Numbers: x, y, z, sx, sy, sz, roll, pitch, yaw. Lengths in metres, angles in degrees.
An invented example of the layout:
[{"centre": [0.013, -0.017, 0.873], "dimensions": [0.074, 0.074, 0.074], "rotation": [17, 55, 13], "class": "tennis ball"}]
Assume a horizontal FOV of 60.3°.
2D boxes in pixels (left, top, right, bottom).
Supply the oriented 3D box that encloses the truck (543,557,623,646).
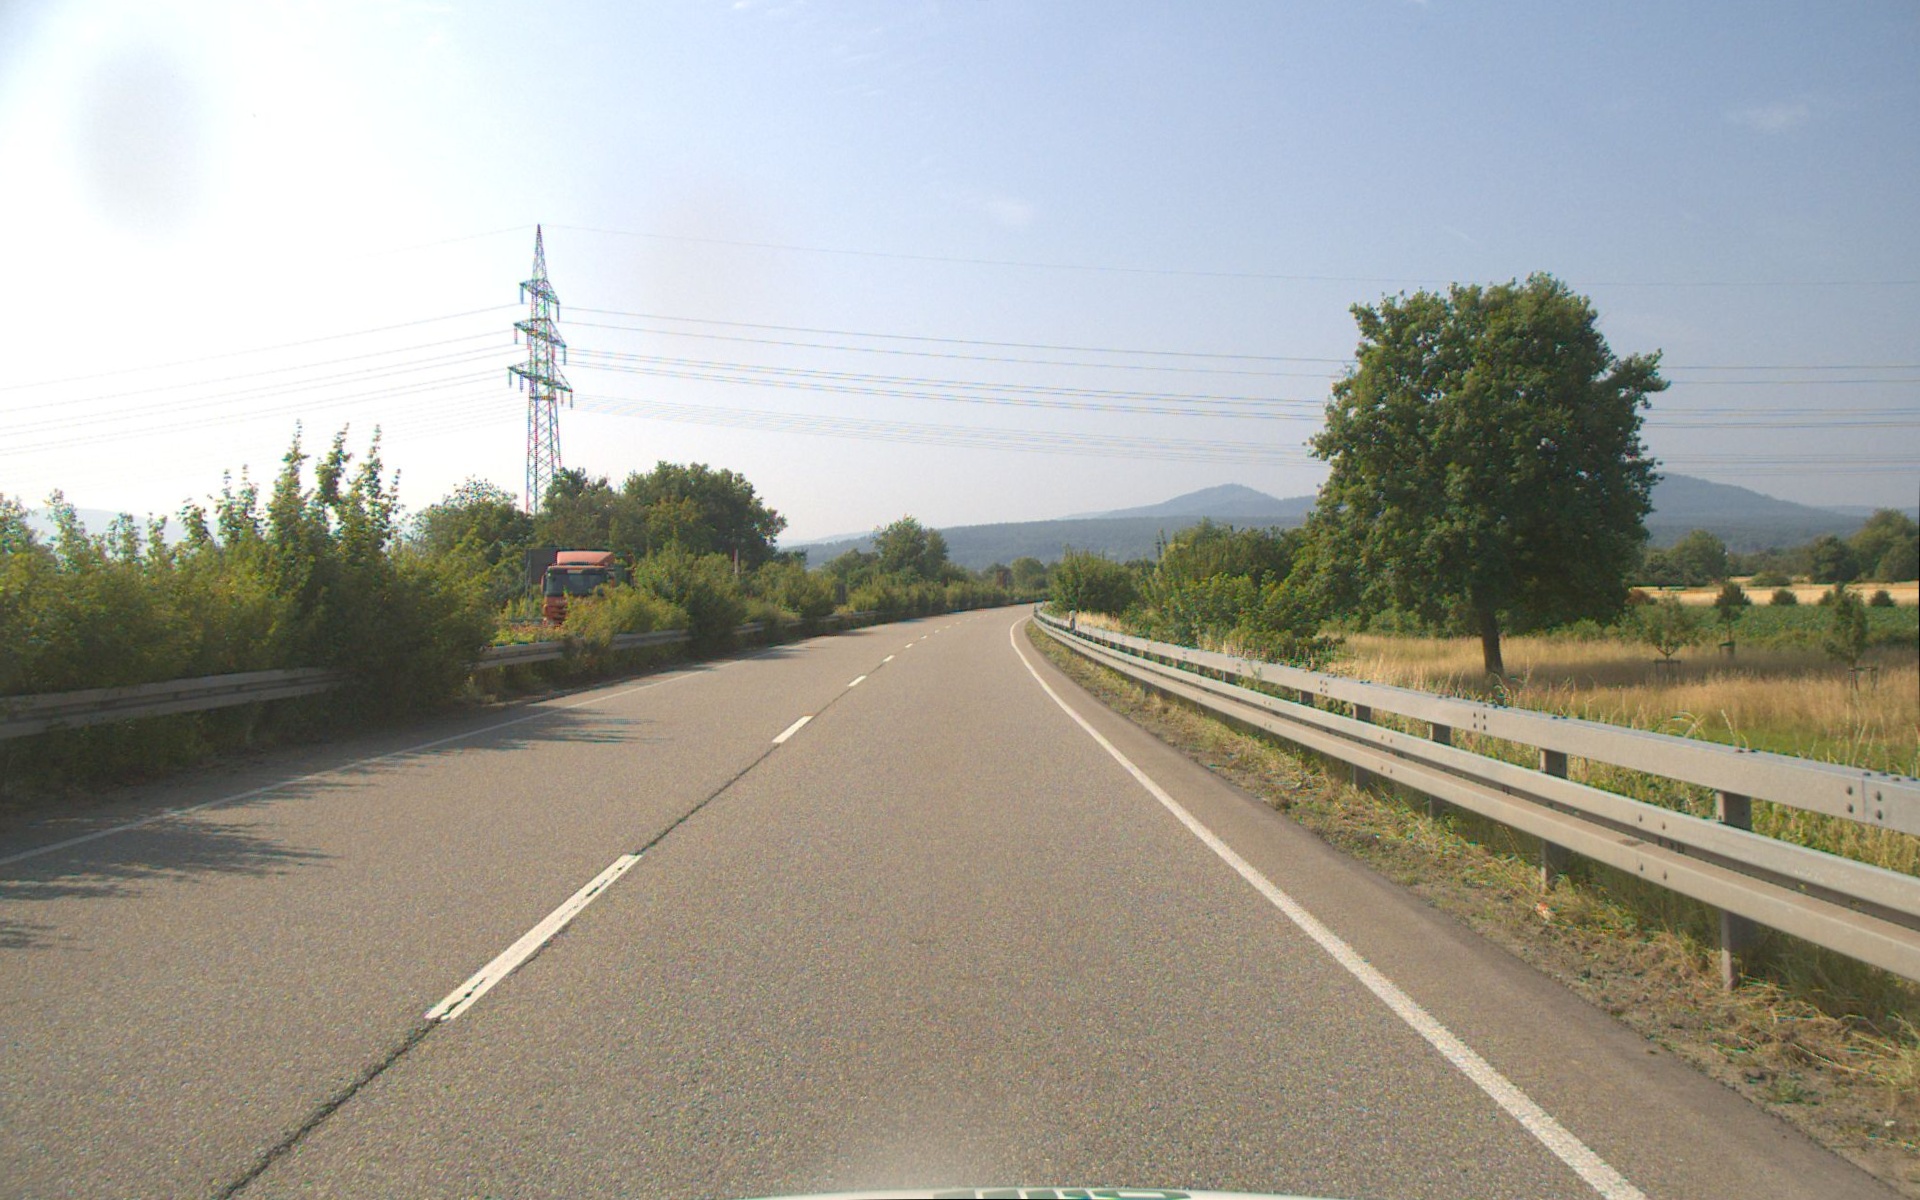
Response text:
[{"centre": [-15.017, 0.069, 66.167], "dimensions": [1.953, 3.435, 5.627], "rotation": [0, 0, -1], "class": "truck"}]
